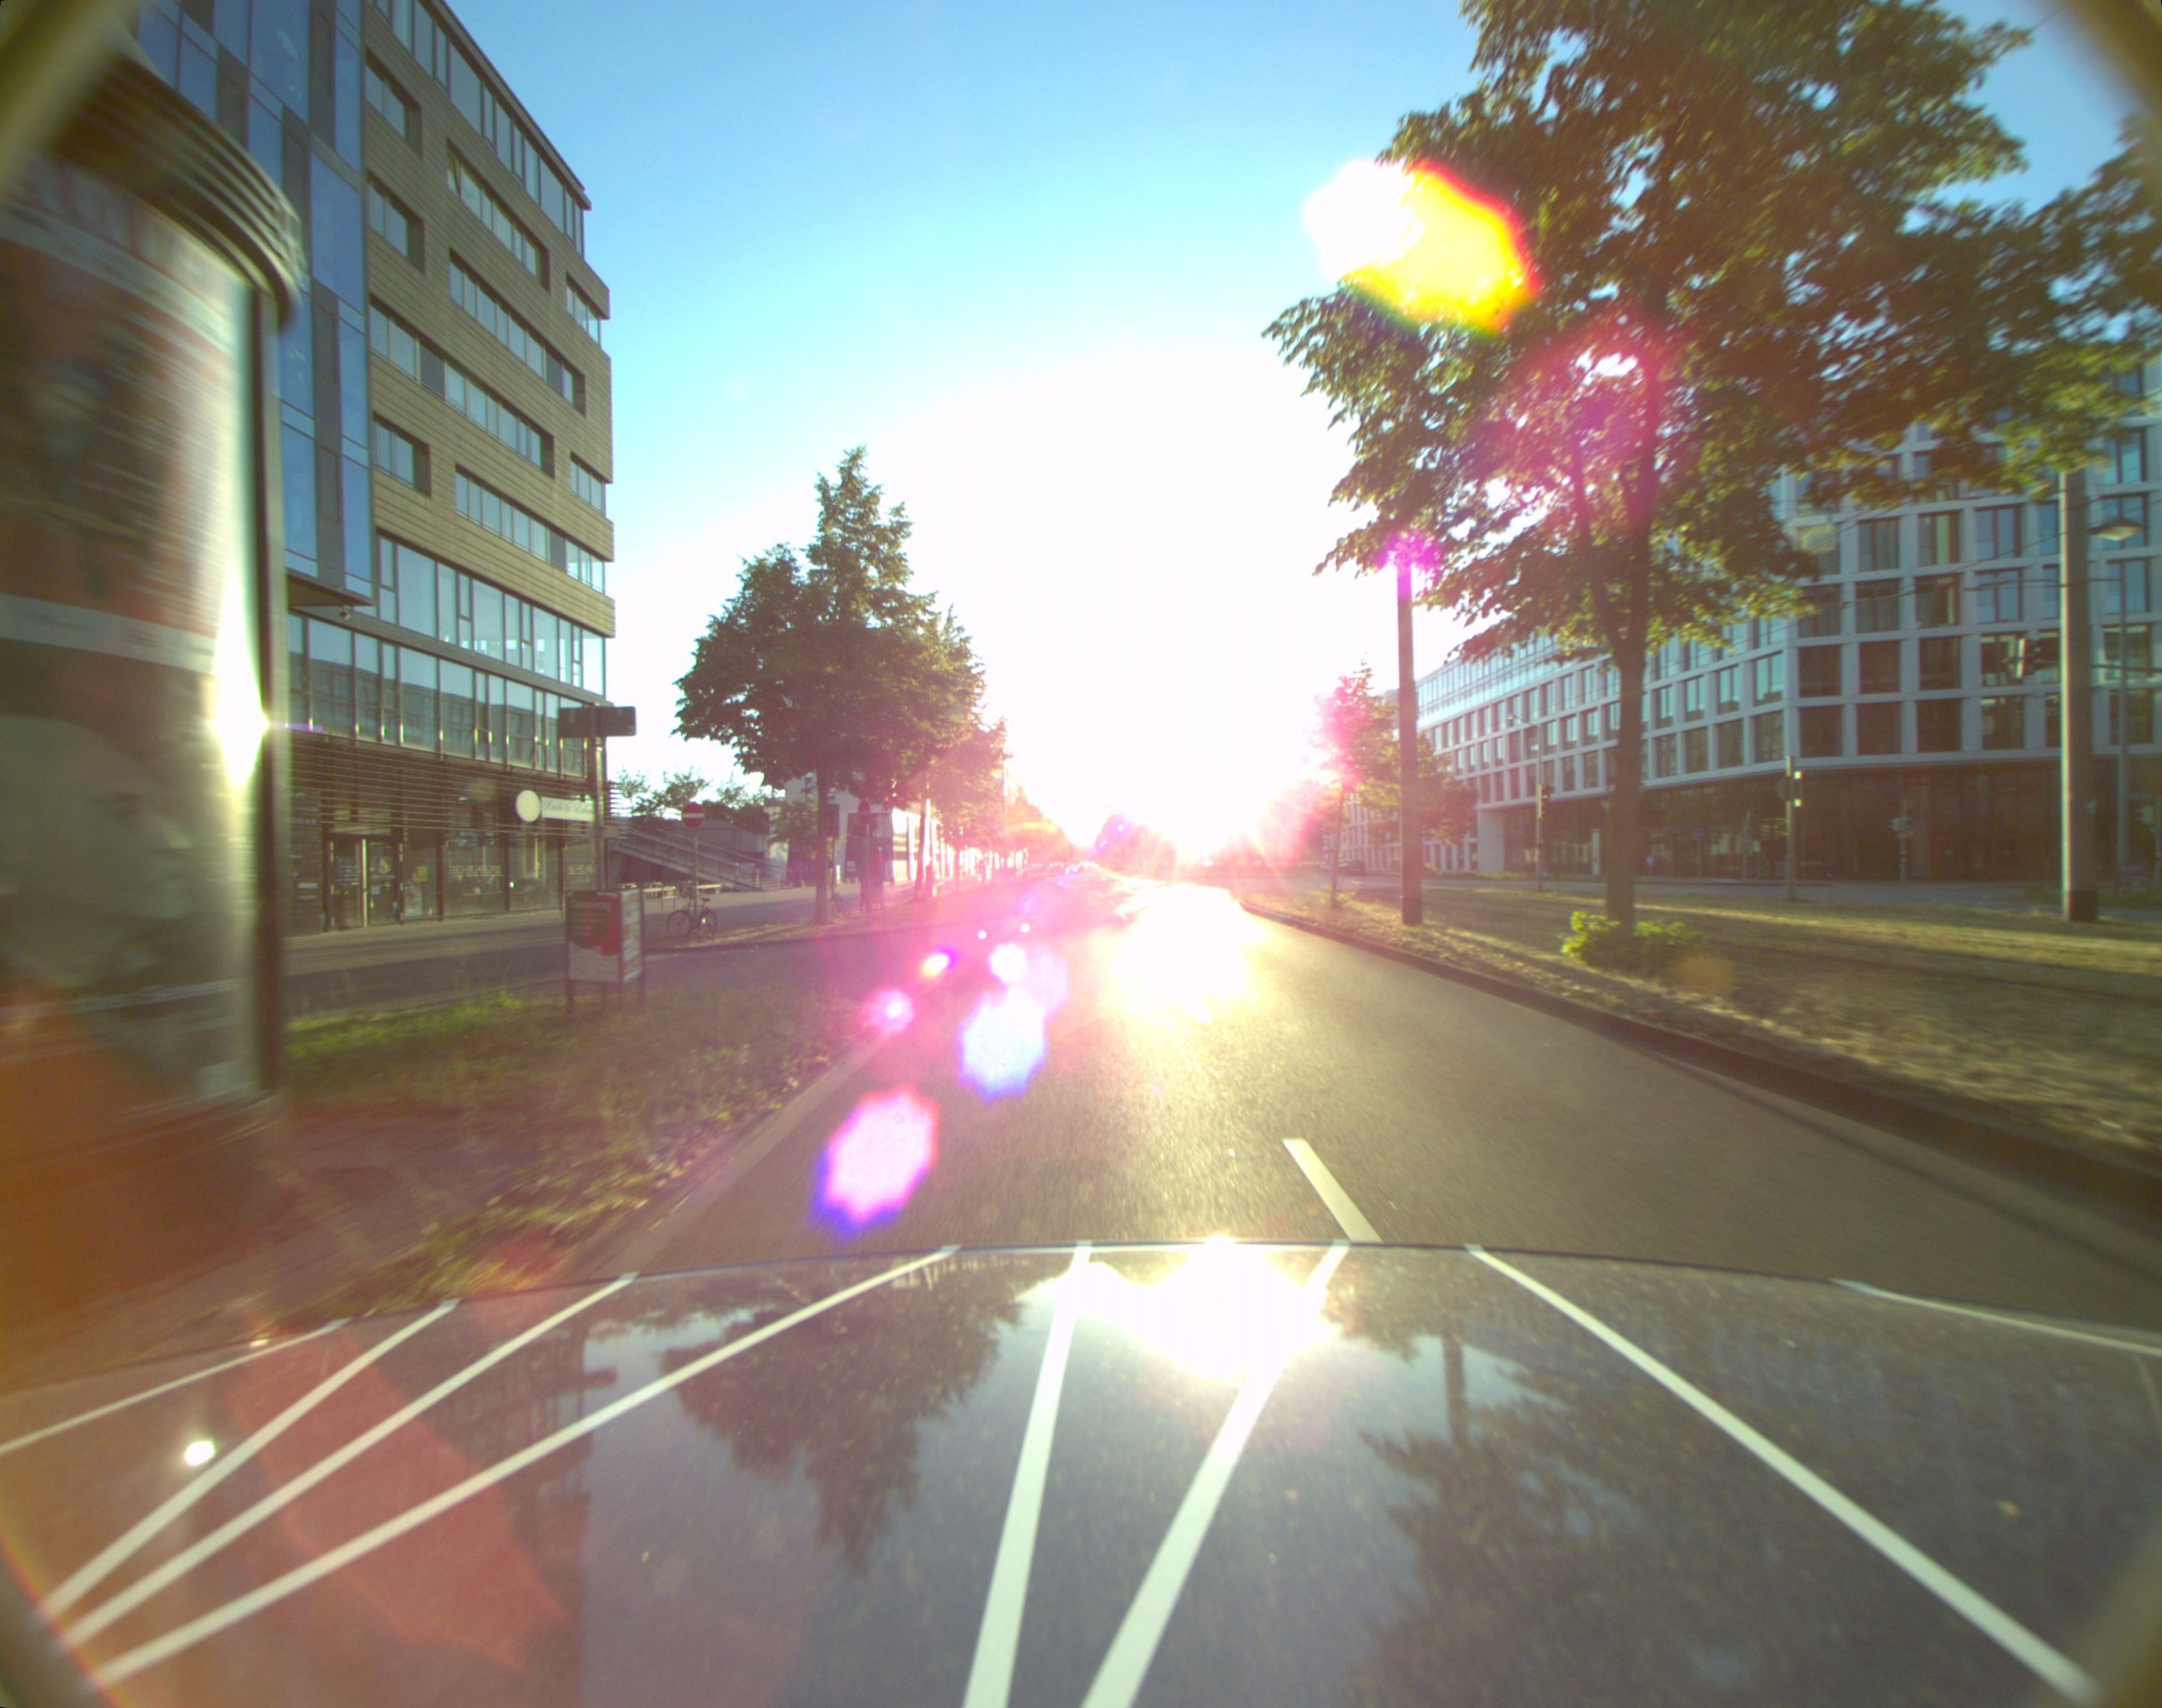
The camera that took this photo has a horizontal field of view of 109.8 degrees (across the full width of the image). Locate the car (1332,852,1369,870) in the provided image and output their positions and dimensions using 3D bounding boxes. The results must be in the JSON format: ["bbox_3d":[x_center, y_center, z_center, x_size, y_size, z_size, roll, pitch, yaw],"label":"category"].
[{"bbox_3d":[23.118,0.608,65.247,1.645,1.440,4.000,-1,0,-1],"label":"car"}]

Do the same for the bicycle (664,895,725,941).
[{"bbox_3d":[-8.350,1.361,16.374,1.719,0.905,0.363,-1,0,34],"label":"bicycle"}]

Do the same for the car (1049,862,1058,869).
[{"bbox_3d":[-6.635,2.756,182.446,1.998,1.594,4.000,-1,0,0],"label":"car"}]

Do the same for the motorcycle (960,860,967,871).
[{"bbox_3d":[-17.335,1.687,112.237,0.690,1.689,2.123,-1,0,0],"label":"motorcycle"}]

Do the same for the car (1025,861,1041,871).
[{"bbox_3d":[-7.143,1.830,113.238,1.998,1.455,4.000,-1,0,0],"label":"car"}]

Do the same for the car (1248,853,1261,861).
[{"bbox_3d":[39.466,0.705,172.977,1.998,1.730,4.611,-1,0,0],"label":"car"}]

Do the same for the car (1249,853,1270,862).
[{"bbox_3d":[39.469,0.771,168.108,4.083,1.730,2.000,-1,0,-2],"label":"car"}]

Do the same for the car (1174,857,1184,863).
[{"bbox_3d":[21.495,1.360,166.765,1.649,1.394,4.000,-1,0,-1],"label":"car"}]

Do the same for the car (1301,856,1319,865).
[{"bbox_3d":[37.673,1.068,125.128,1.763,1.394,4.000,-1,0,-1],"label":"car"}]

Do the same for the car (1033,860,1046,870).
[{"bbox_3d":[-7.230,1.866,131.537,1.998,1.594,4.000,-1,0,0],"label":"car"}]

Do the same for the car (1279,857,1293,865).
[{"bbox_3d":[40.196,1.328,148.932,1.997,1.583,4.338,-1,0,7],"label":"car"}]

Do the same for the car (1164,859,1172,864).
[{"bbox_3d":[22.403,1.891,195.910,1.649,1.394,4.000,-1,0,-1],"label":"car"}]

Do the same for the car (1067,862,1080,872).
[{"bbox_3d":[-1.169,2.084,119.780,1.998,1.473,4.335,-1,0,0],"label":"car"}]

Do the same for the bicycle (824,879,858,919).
[{"bbox_3d":[-6.639,1.226,21.057,0.581,0.989,1.686,-1,0,-7],"label":"bicycle"}]

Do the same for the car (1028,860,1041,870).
[{"bbox_3d":[-7.606,1.843,124.600,1.998,1.594,4.000,-1,0,0],"label":"car"}]

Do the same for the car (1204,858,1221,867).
[{"bbox_3d":[21.801,1.331,126.036,1.998,1.426,4.898,-1,0,0],"label":"car"}]

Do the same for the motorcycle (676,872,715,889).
[{"bbox_3d":[-24.870,1.702,49.106,0.732,1.037,2.694,-1,0,11],"label":"motorcycle"}]

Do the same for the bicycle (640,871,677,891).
[{"bbox_3d":[-28.098,1.767,50.577,0.732,1.229,2.452,-1,0,11],"label":"bicycle"}]
